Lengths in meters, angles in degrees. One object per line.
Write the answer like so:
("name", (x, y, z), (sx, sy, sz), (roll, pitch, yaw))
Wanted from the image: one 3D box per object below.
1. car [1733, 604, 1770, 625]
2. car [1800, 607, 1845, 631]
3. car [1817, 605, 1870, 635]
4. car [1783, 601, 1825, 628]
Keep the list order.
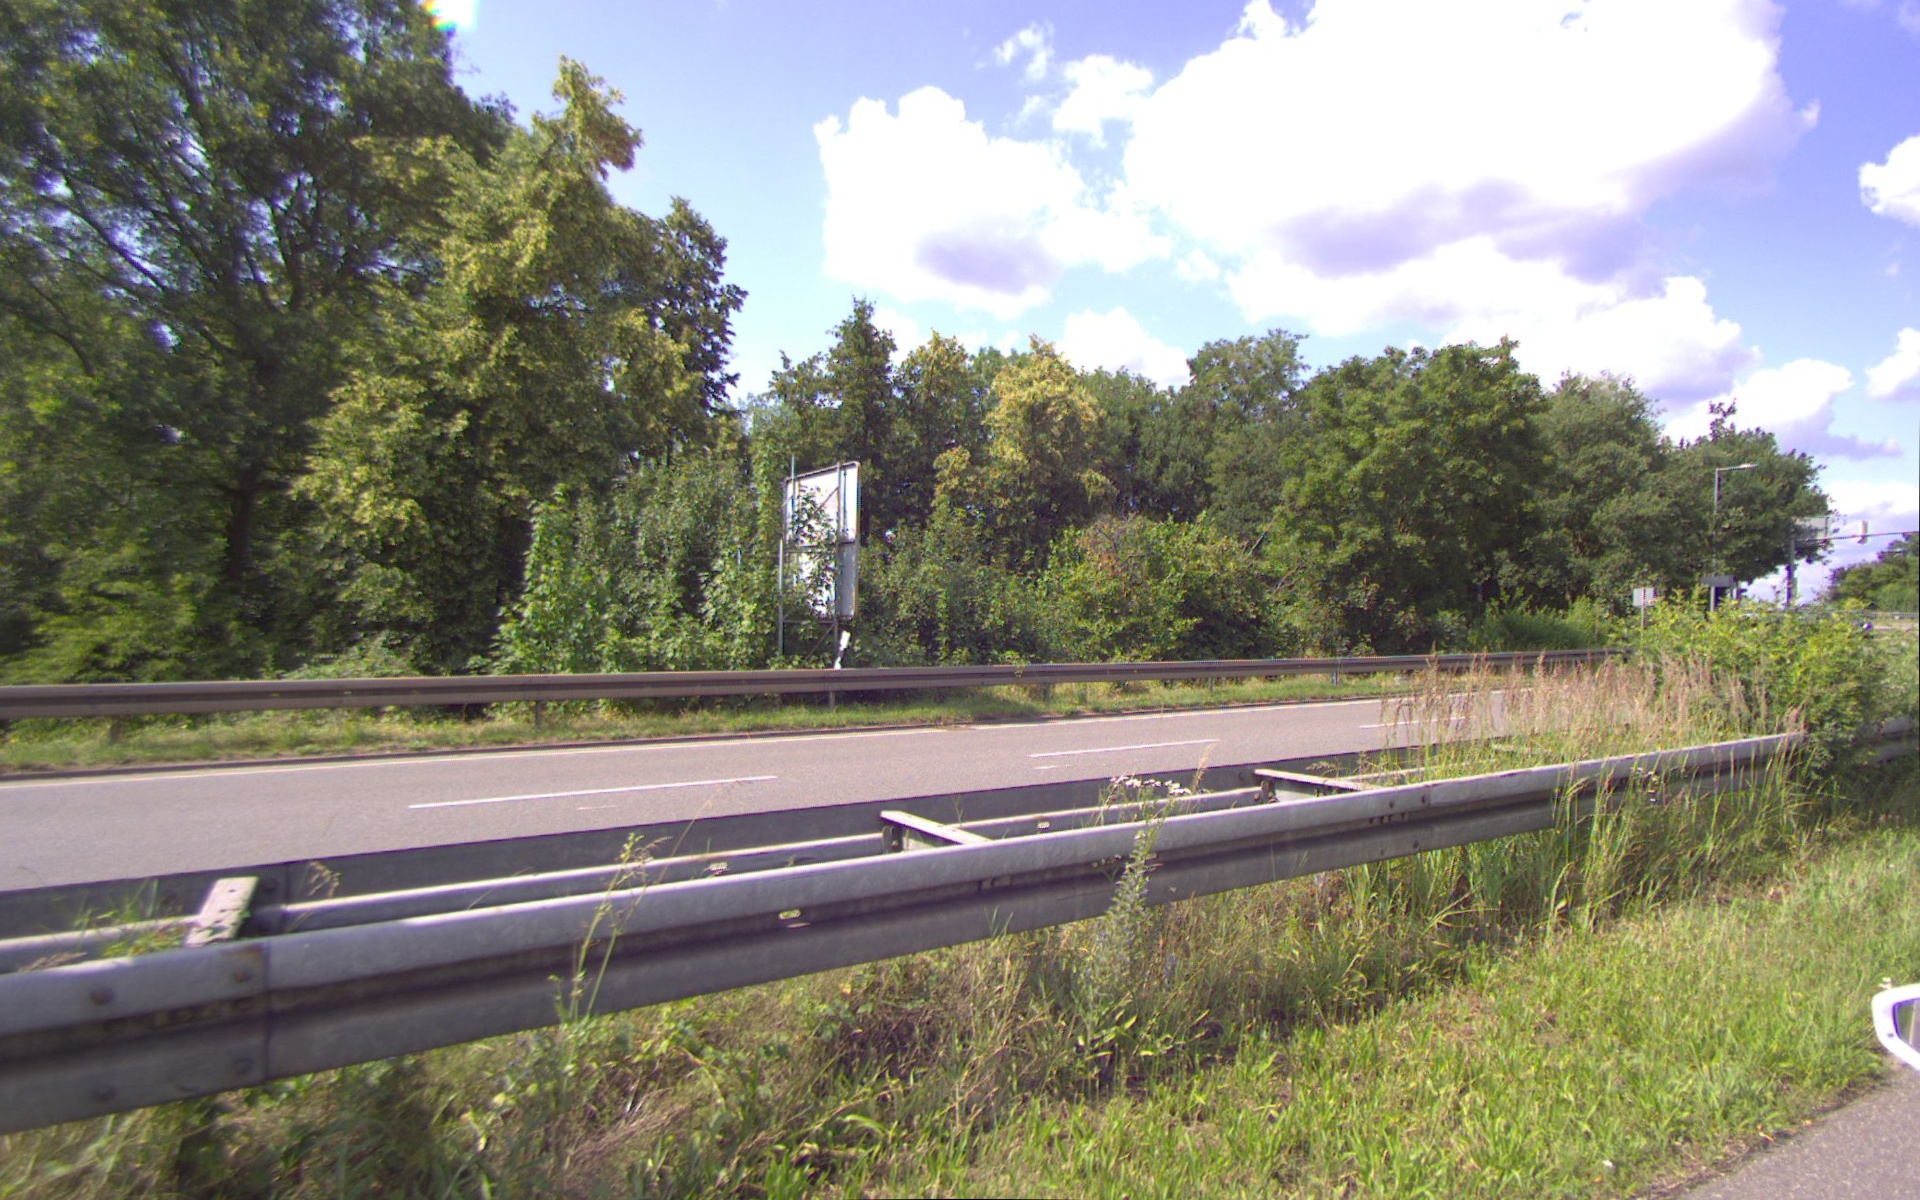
("car", (67.295, 1.259, 85.449), (1.816, 1.728, 4.319), (0, -1, 29))
("car", (56.355, 1.224, 65.689), (1.708, 1.496, 4.035), (0, -1, 34))
("car", (51.862, 1.202, 59.005), (1.814, 1.639, 3.989), (0, -2, 34))
("car", (59.992, 1.036, 71.460), (1.818, 1.826, 4.314), (0, -1, 34))
